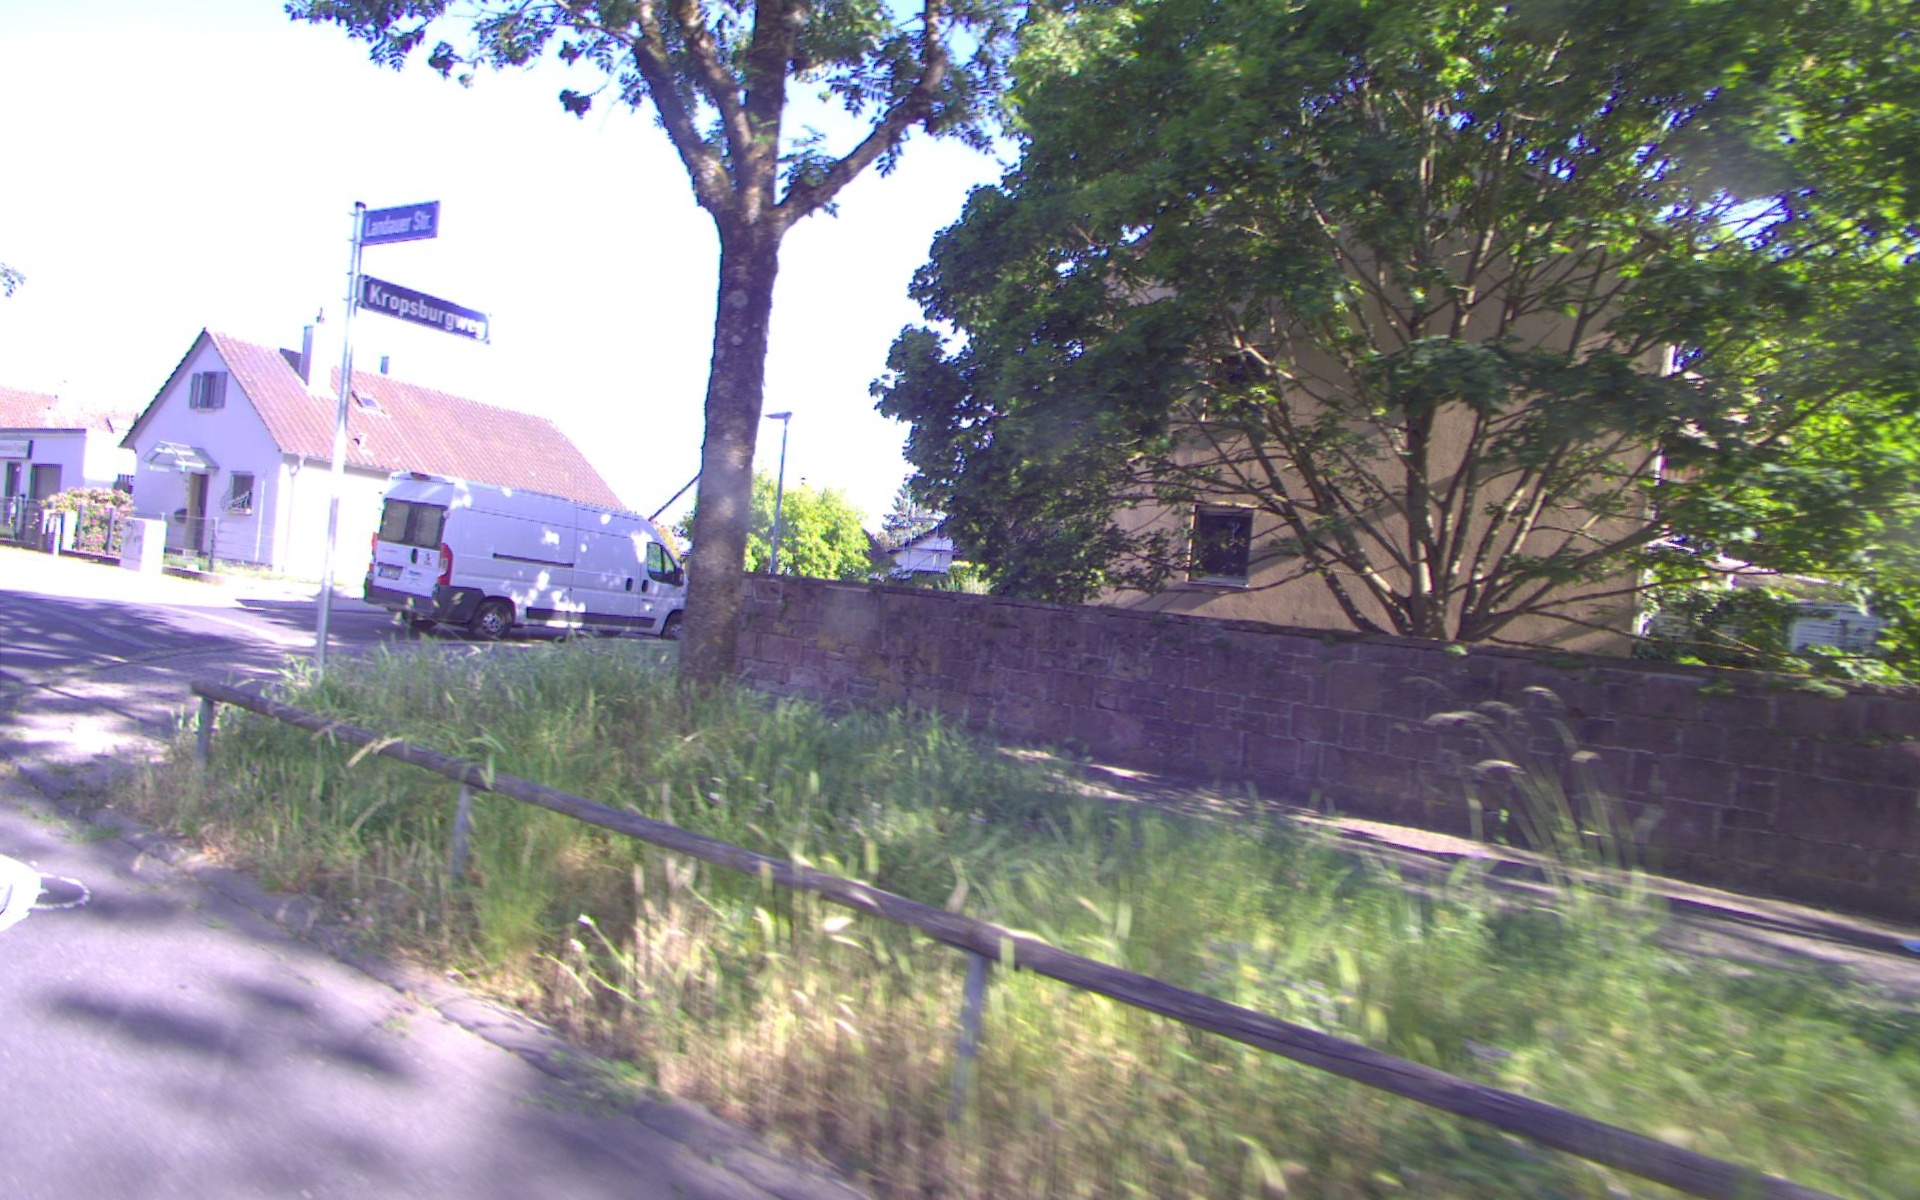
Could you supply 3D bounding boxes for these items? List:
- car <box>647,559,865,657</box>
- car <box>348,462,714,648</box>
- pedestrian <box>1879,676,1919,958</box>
[{"bbox_3d":[-4.495,0.254,23.026,2.245,1.600,4.753,8,-1,28],"label":"car"},{"bbox_3d":[-7.256,-0.620,17.809,2.227,2.570,5.604,7,0,29],"label":"car"},{"bbox_3d":[6.008,1.242,5.890,0.602,1.729,0.637,8,4,30],"label":"pedestrian"}]
